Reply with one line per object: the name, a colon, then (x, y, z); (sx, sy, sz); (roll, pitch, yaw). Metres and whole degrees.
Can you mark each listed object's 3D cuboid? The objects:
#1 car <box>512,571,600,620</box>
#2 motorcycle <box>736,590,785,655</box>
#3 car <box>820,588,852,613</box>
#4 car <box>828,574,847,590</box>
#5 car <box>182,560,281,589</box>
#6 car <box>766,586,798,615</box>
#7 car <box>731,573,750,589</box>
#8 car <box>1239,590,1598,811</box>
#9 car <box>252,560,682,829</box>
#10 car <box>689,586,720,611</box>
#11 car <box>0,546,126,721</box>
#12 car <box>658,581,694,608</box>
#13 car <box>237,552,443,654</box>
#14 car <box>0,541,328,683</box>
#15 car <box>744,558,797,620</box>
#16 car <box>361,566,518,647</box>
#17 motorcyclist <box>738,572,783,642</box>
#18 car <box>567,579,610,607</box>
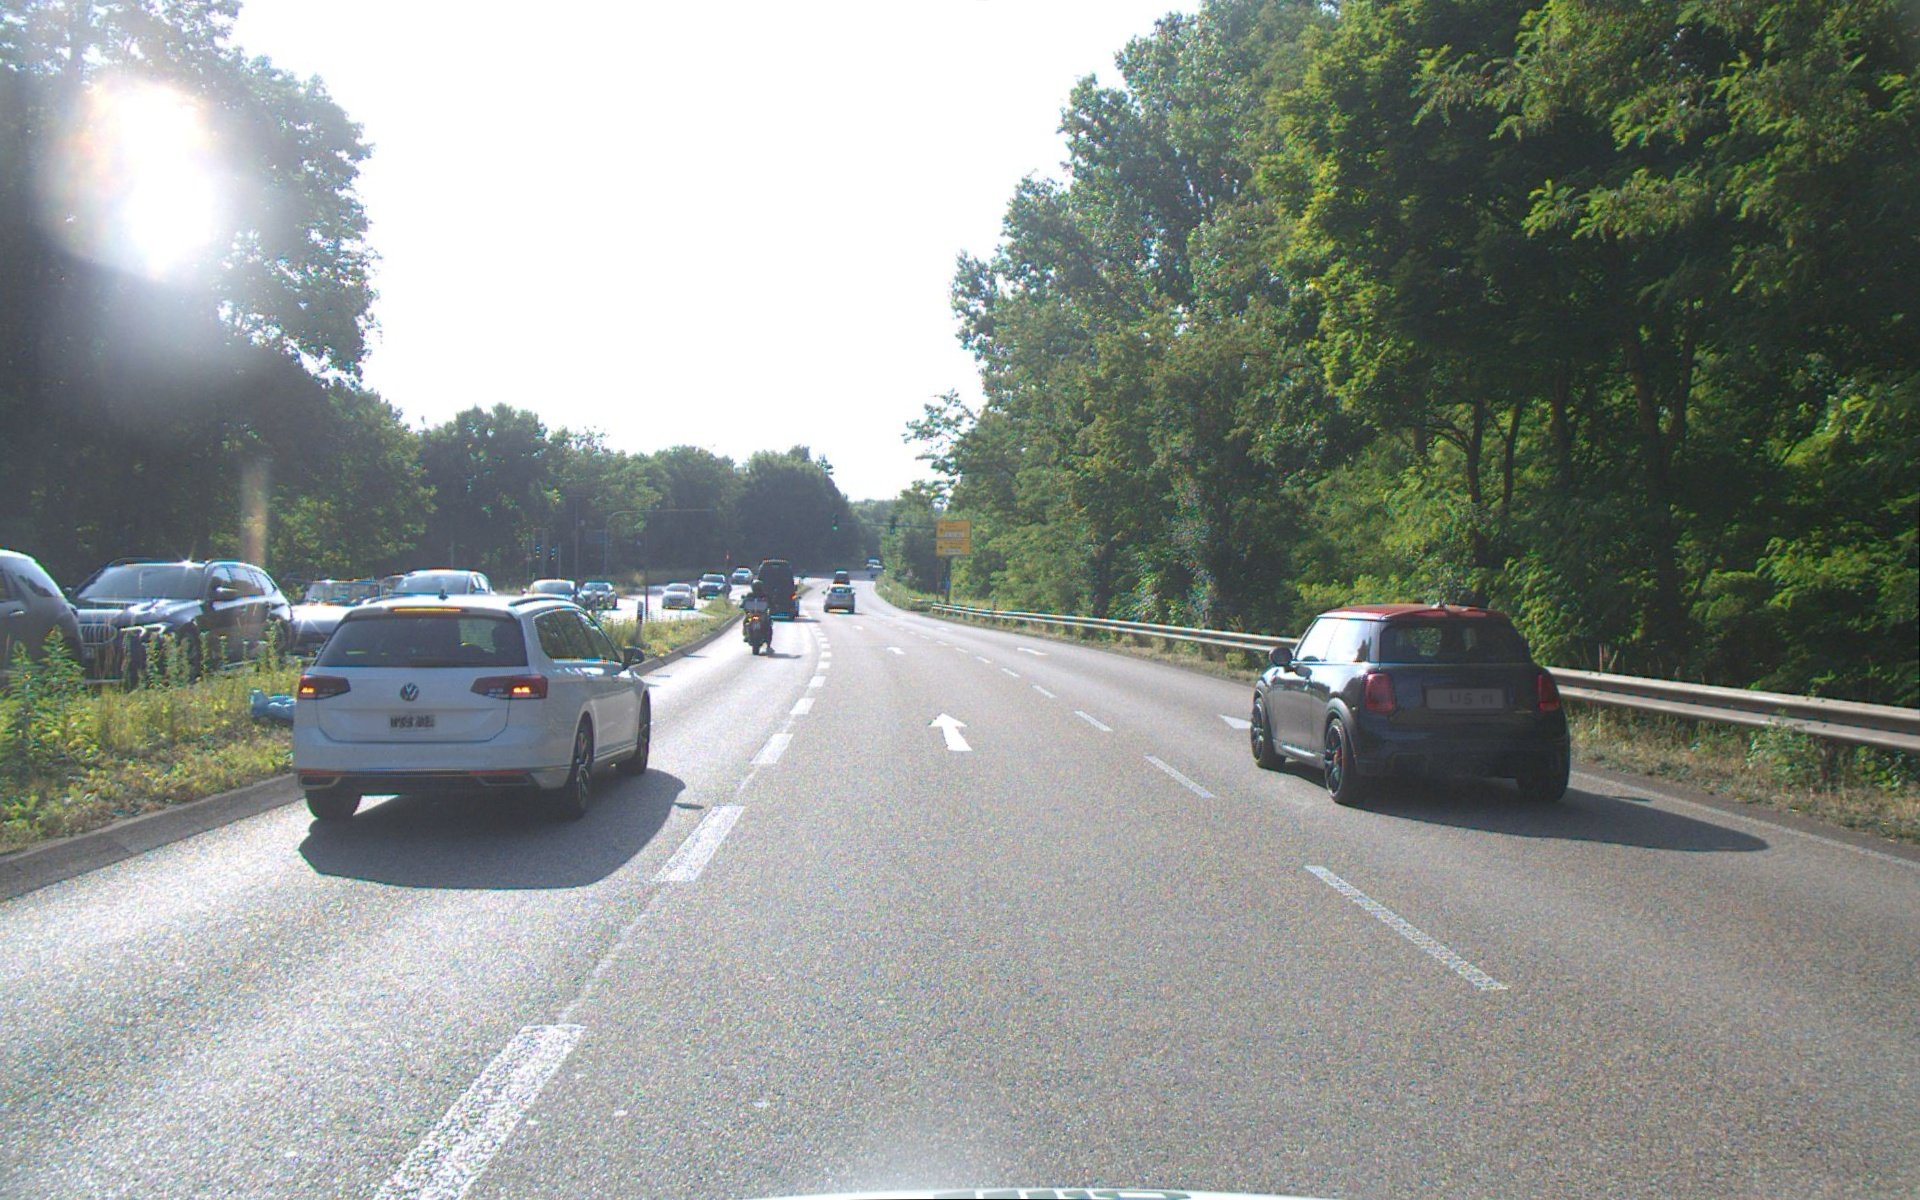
car: (-15.028, -0.191, 61.933); (2.061, 1.738, 6.222); (0, 1, -3)
motorcycle: (-4.843, 0.515, 40.324); (0.890, 1.479, 2.688); (-2, 1, -1)
car: (-7.544, -0.010, 100.986); (1.726, 1.404, 3.970); (3, 1, -2)
car: (-12.873, -1.900, 173.936); (1.711, 1.564, 3.920); (3, 1, -7)
car: (-45.149, -1.573, 102.607); (4.949, 1.516, 2.448); (3, 0, 3)
car: (-9.674, -0.005, 90.080); (1.613, 1.515, 4.099); (0, 1, -5)
car: (-22.545, -1.960, 169.952); (1.848, 1.529, 4.257); (0, 1, -8)
car: (3.537, 0.694, 13.511); (1.783, 1.493, 3.872); (1, 0, -1)
car: (-3.341, 0.536, 12.269); (1.832, 1.548, 4.832); (2, 1, -2)
car: (-18.969, -0.133, 122.917); (2.036, 1.794, 4.751); (0, 1, -6)
car: (-8.790, 0.268, 13.838); (1.673, 1.448, 4.209); (0, 1, -3)
car: (-16.949, -0.338, 98.795); (1.754, 1.436, 4.222); (3, 1, -6)
car: (-9.507, 0.018, 25.726); (1.732, 1.442, 4.431); (0, 1, -3)
car: (-9.206, 0.087, 19.488); (1.731, 1.448, 5.191); (0, 1, -3)
car: (-9.422, -0.569, 82.712); (2.166, 2.939, 7.007); (0, 1, -3)
car: (-9.955, 0.087, 31.977); (1.830, 1.442, 4.413); (0, 1, -3)
motorcyclist: (-4.849, 0.163, 40.254); (0.866, 1.644, 1.290); (3, 0, -1)
car: (-20.634, -0.412, 92.006); (1.753, 1.431, 4.748); (1, 1, -6)
